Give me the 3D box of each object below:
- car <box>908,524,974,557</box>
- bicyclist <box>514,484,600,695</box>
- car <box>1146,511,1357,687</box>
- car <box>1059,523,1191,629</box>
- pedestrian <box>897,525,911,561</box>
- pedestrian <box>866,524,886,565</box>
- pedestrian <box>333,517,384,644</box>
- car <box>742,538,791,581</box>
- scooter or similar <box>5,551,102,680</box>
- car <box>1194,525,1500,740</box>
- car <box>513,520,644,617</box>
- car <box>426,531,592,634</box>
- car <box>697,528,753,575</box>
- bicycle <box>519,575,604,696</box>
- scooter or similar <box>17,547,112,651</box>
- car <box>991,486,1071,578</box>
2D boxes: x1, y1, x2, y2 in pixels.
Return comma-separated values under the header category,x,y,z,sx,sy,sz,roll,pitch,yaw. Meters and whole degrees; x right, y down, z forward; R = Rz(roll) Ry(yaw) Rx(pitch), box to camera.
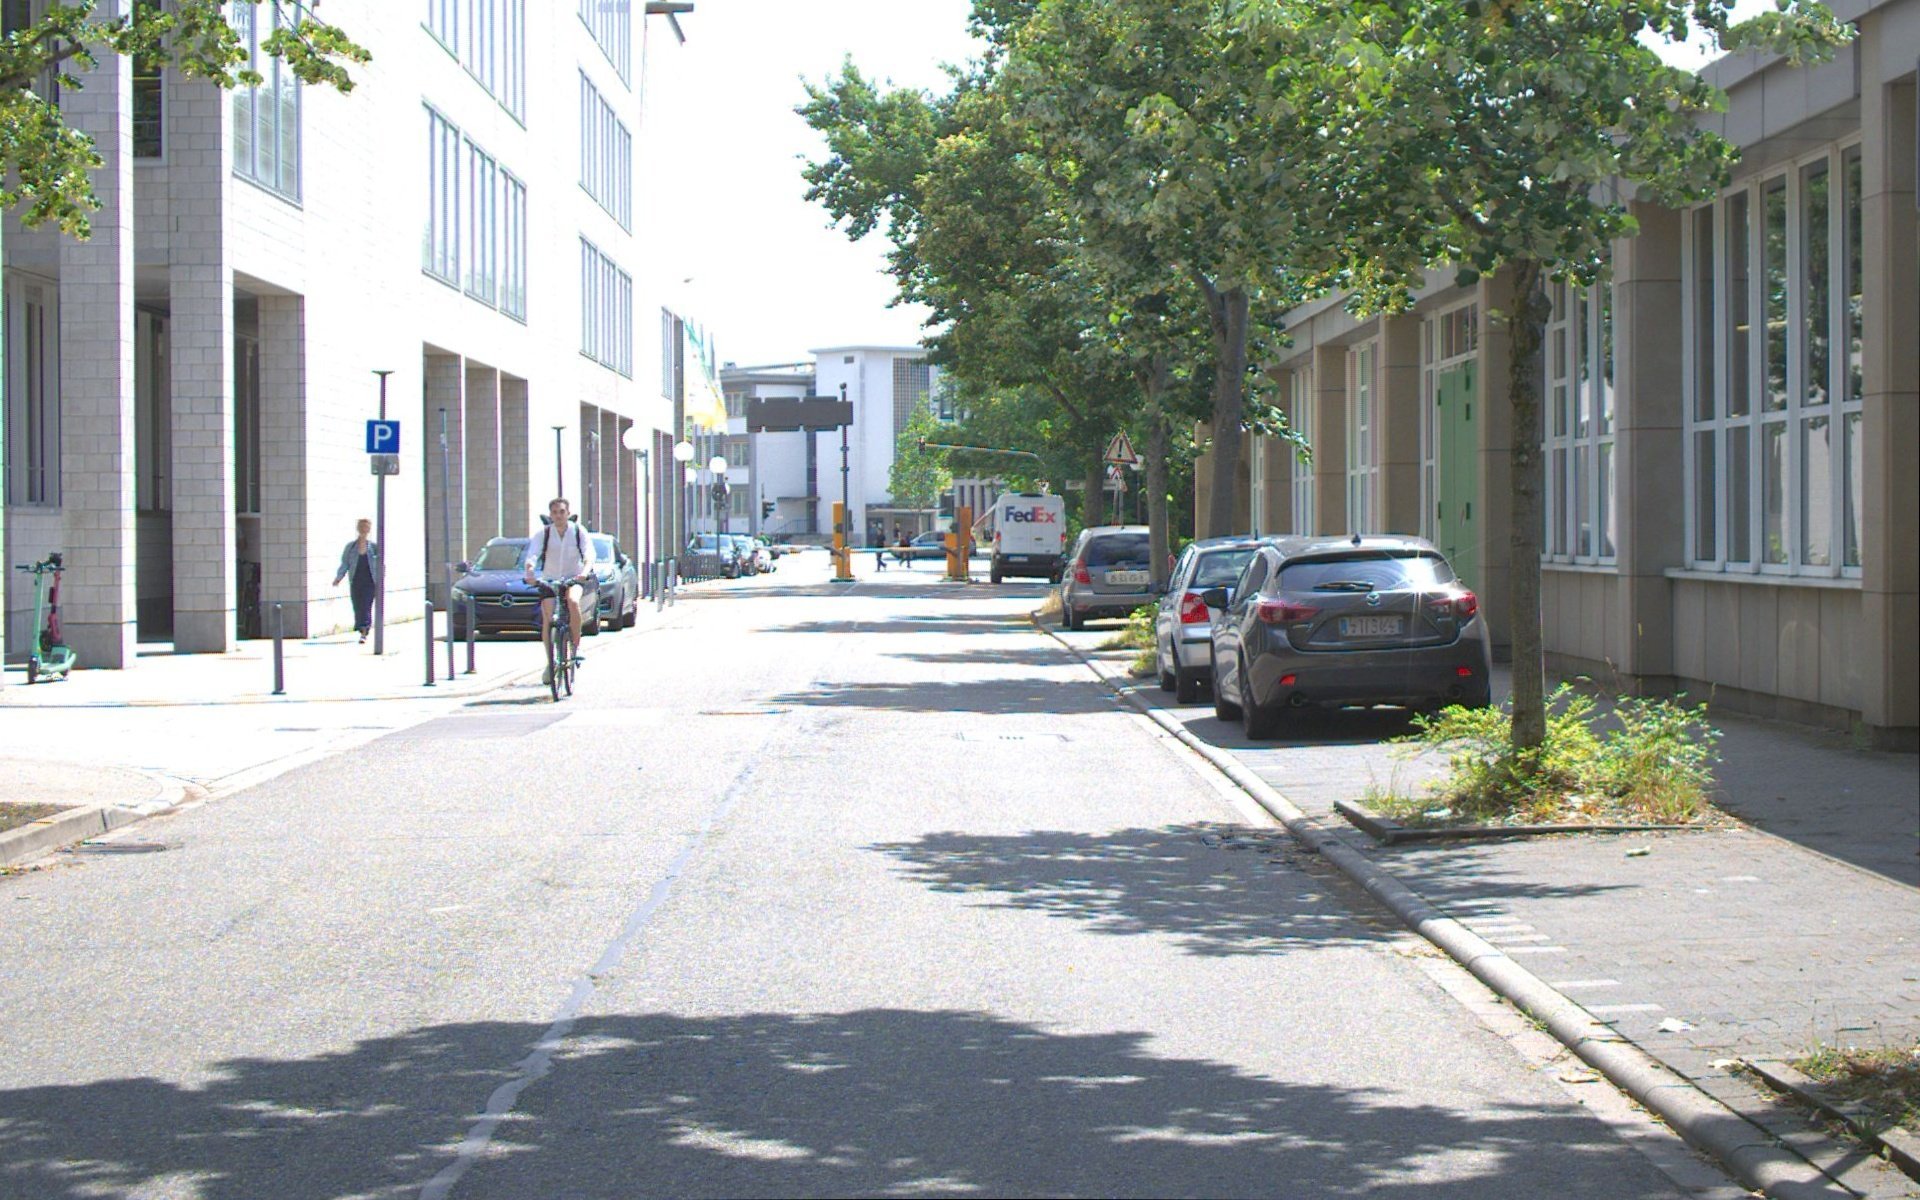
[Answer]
category,x,y,z,sx,sy,sz,roll,pitch,yaw
car,-1.010,-3.146,182.547,3.494,1.691,1.438,1,1,-1
bicyclist,-3.908,-0.109,33.382,0.711,2.007,1.019,-1,1,-3
car,2.645,-0.044,31.902,1.616,1.533,3.780,0,1,0
car,2.579,-0.404,54.398,1.858,1.568,4.000,-1,1,0
pedestrian,-2.564,-2.616,157.533,0.606,1.614,0.682,1,1,-2
pedestrian,-3.478,-2.296,142.084,0.777,1.673,0.504,1,1,0
pedestrian,-8.121,-0.274,46.381,0.649,1.695,0.890,0,1,-11
car,-7.137,-1.486,127.119,1.646,1.493,3.729,0,-1,-1
scooter or similar,-8.822,0.135,33.506,0.454,1.219,1.549,0,1,3
car,2.886,0.185,26.535,1.780,1.471,4.462,-1,1,-1
car,-6.072,-0.515,55.077,1.631,1.479,4.178,0,1,0
car,-6.459,-0.264,49.659,1.766,1.423,4.234,0,1,1
car,-7.863,-1.618,115.312,1.646,1.493,3.729,0,-1,-1
bicycle,-3.880,0.329,33.596,0.685,1.126,1.889,0,1,-2
scooter or similar,-10.691,-0.024,41.016,0.525,1.206,1.557,-1,1,-38
car,1.989,-1.941,97.914,2.083,2.531,4.316,1,1,-1
